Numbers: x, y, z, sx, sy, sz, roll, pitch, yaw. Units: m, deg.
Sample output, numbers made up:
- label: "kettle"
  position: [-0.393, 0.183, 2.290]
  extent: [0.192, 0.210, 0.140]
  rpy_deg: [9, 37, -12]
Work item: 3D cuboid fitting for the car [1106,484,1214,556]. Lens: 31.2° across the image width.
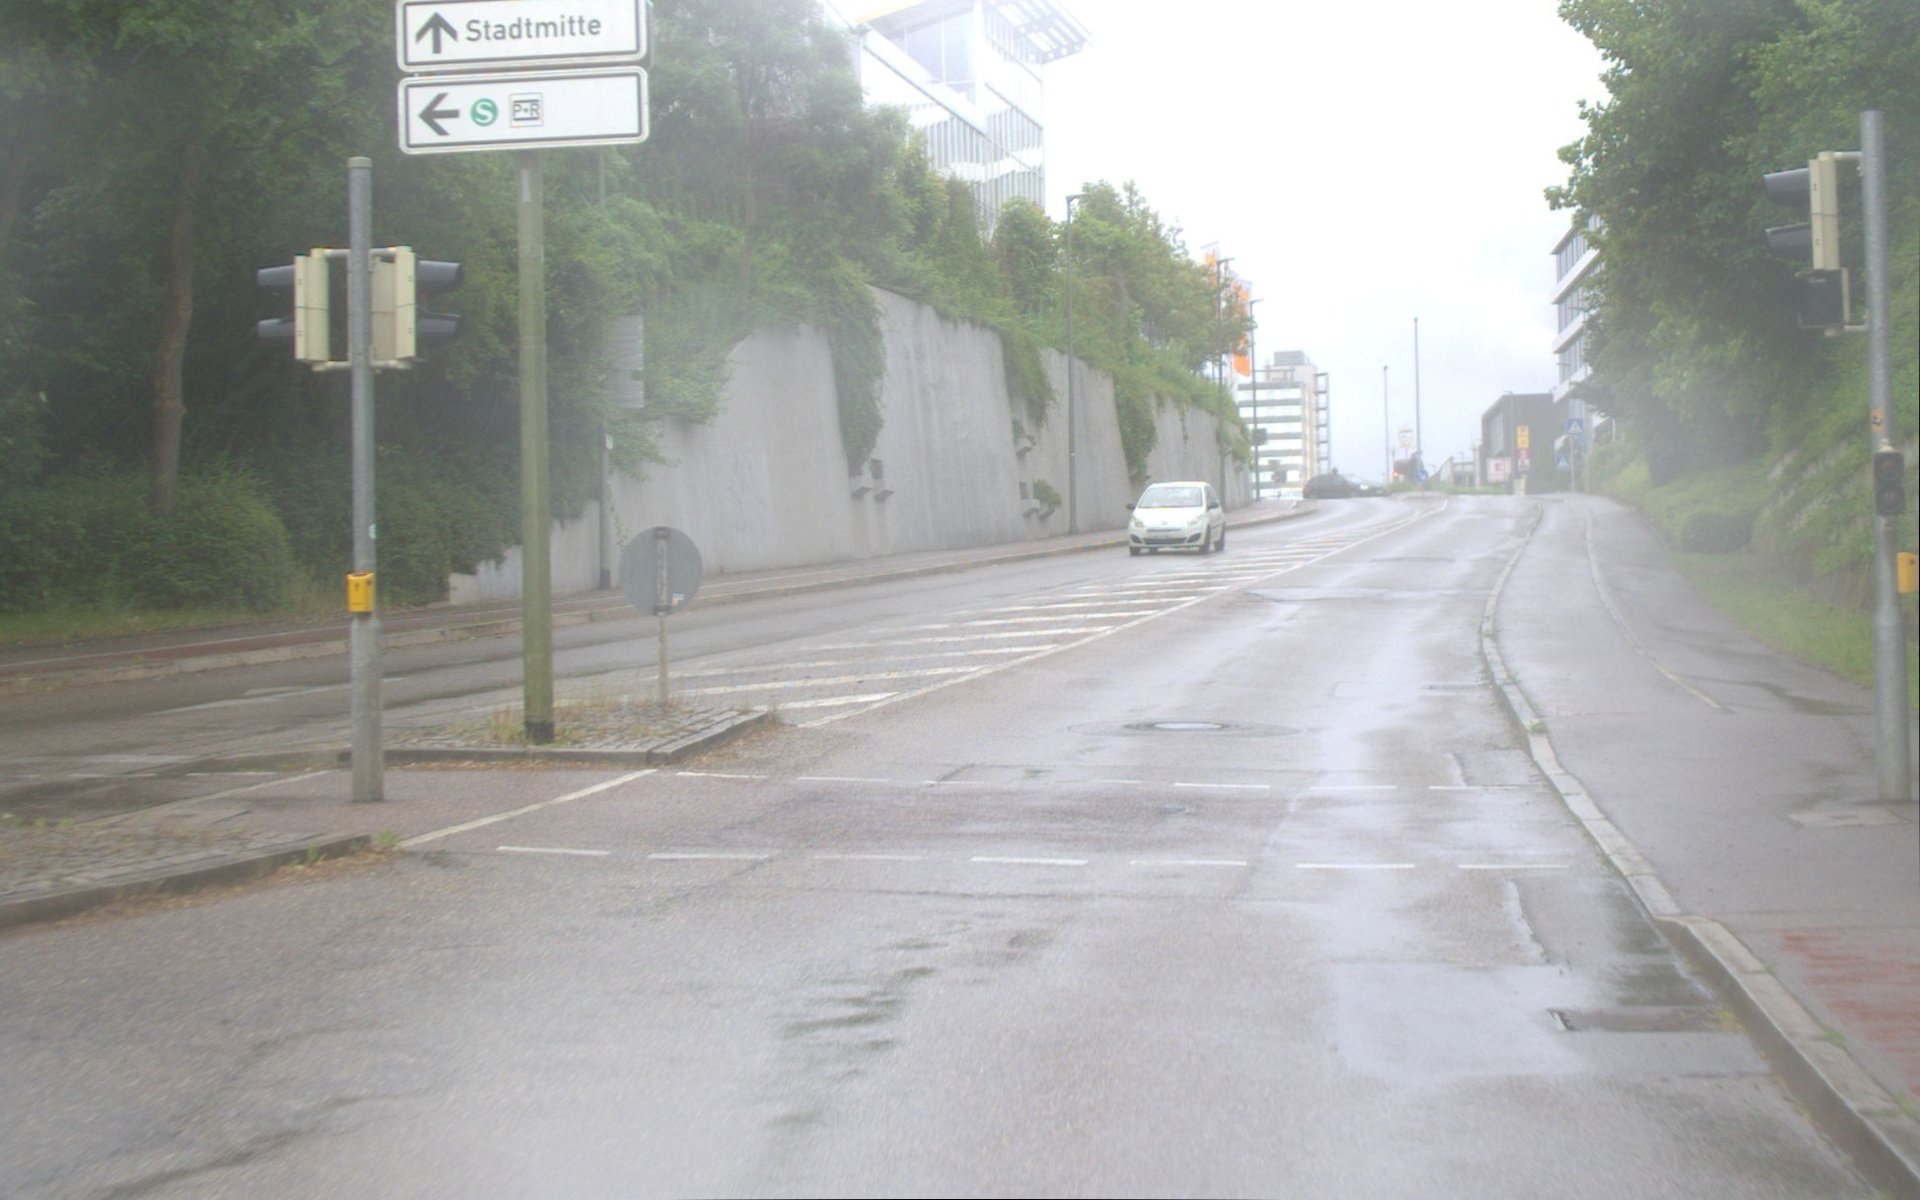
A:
- label: "car"
  position: [4.104, -1.632, 71.102]
  extent: [1.512, 1.443, 3.817]
  rpy_deg: [0, 1, -8]
